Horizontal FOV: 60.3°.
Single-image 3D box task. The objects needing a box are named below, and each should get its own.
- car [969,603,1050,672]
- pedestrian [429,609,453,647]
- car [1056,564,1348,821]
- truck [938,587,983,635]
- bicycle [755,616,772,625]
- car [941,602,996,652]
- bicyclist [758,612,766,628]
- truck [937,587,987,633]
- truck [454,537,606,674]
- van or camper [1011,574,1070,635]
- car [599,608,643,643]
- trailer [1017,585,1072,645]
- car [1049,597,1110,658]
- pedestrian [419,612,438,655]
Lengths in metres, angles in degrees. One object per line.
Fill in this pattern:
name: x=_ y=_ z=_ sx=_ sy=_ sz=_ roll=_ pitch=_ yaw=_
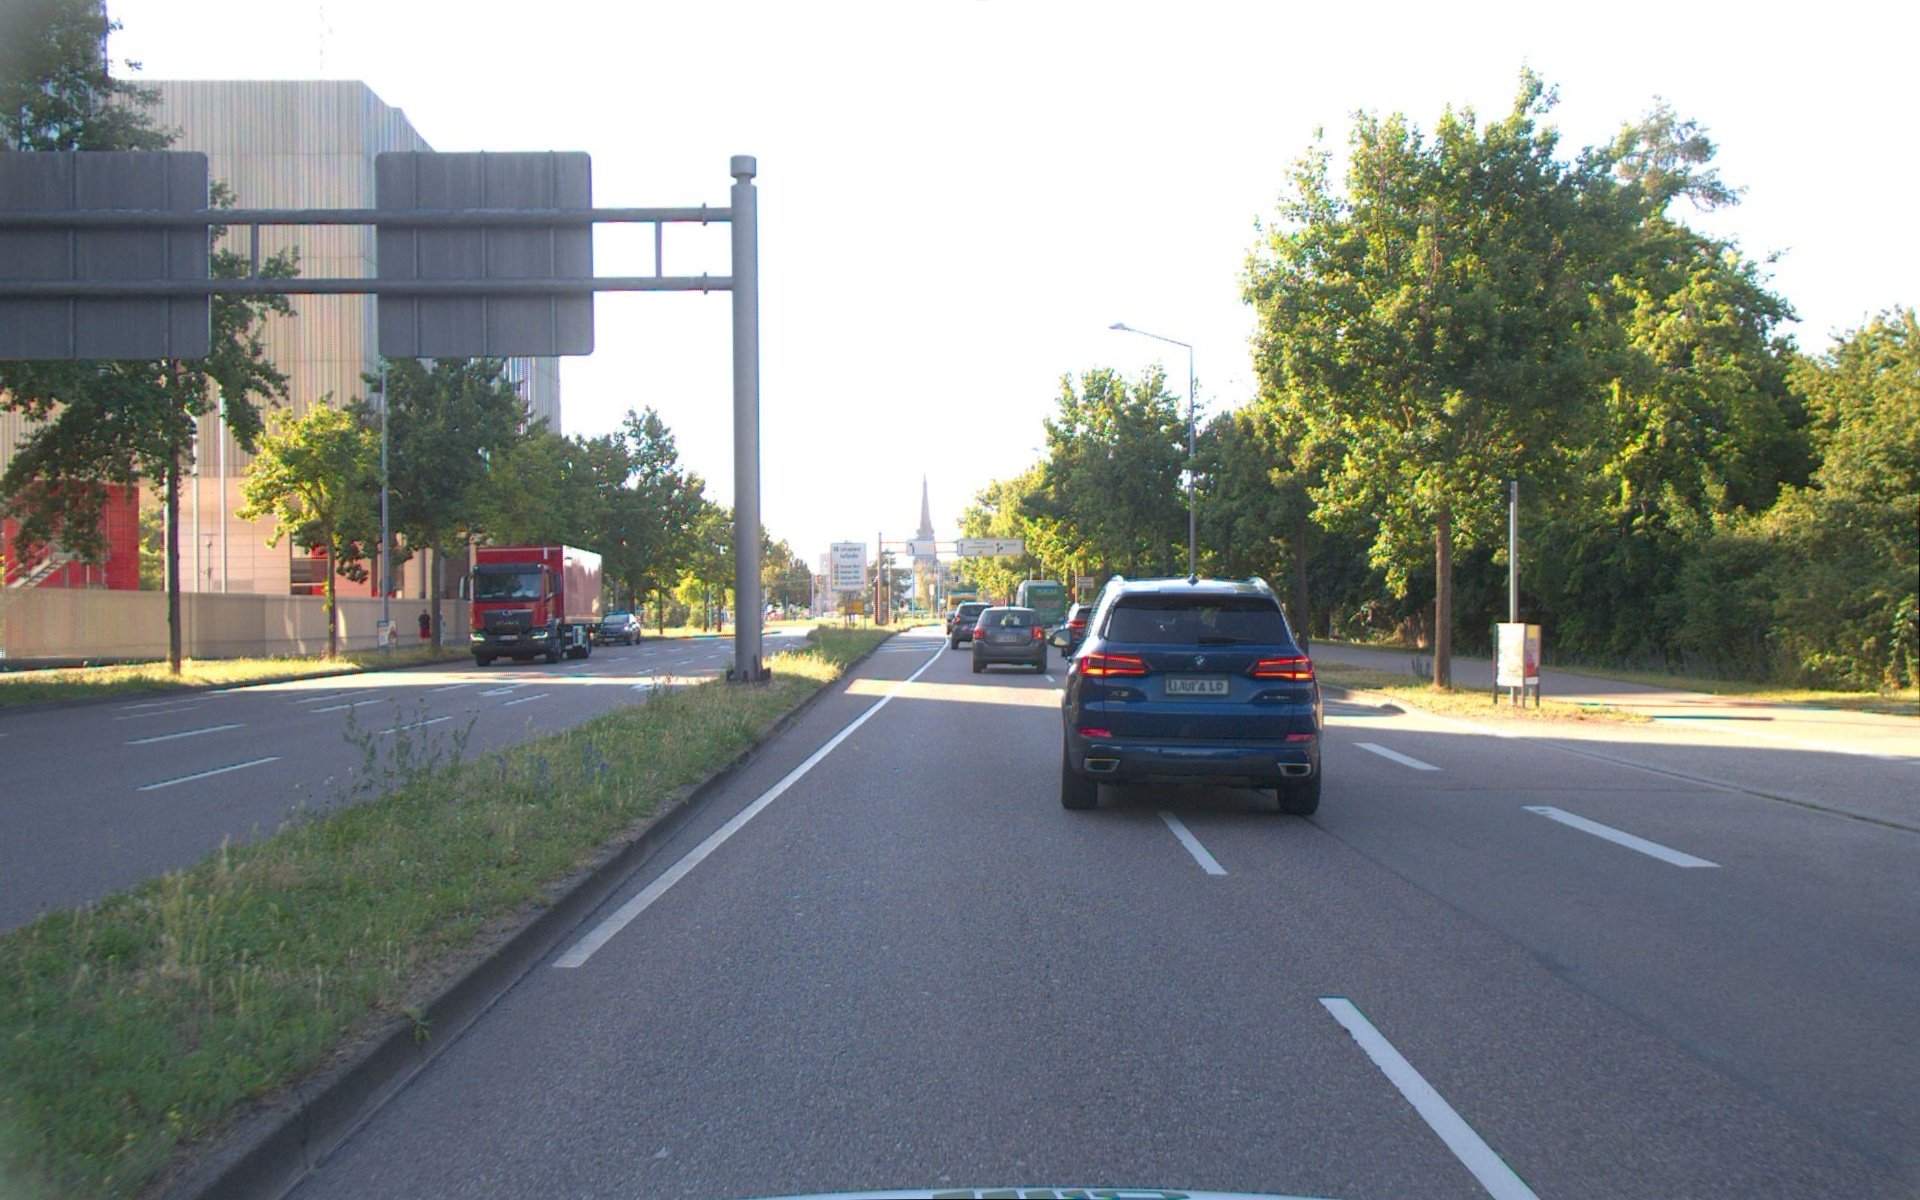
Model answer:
car: x=1.110 y=0.844 z=38.428 sx=1.712 sy=1.499 sz=3.819 roll=-1 pitch=0 yaw=-1
pedestrian: x=-22.693 y=1.224 z=72.313 sx=0.760 sy=1.629 sz=0.909 roll=-1 pitch=-1 yaw=0
car: x=1.804 y=0.678 z=13.770 sx=1.914 sy=1.757 sz=4.700 roll=0 pitch=-1 yaw=2
truck: x=0.077 y=0.649 z=96.989 sx=2.173 sy=2.697 sz=4.776 roll=-1 pitch=0 yaw=5
bicycle: x=-22.795 y=2.402 z=191.693 sx=1.868 sy=1.037 sz=0.505 roll=0 pitch=-1 yaw=14
car: x=0.320 y=0.951 z=58.921 sx=1.866 sy=1.689 sz=4.000 roll=-1 pitch=-1 yaw=1
bicyclist: x=-22.928 y=2.342 z=191.725 sx=0.795 sy=1.802 sz=0.496 roll=0 pitch=-1 yaw=14
truck: x=0.060 y=0.572 z=97.935 sx=2.529 sy=2.603 sz=6.246 roll=-1 pitch=0 yaw=-4
truck: x=-13.345 y=0.161 z=52.271 sx=2.940 sy=3.878 sz=10.078 roll=-1 pitch=0 yaw=-5
van or camper: x=3.647 y=0.221 z=75.764 sx=2.238 sy=2.675 sz=6.581 roll=0 pitch=0 yaw=-1
car: x=-15.583 y=1.160 z=76.075 sx=1.565 sy=1.539 sz=3.862 roll=-1 pitch=0 yaw=-6
trailer: x=3.519 y=0.635 z=69.698 sx=2.047 sy=2.442 sz=3.500 roll=1 pitch=-1 yaw=-1
car: x=3.547 y=0.775 z=48.956 sx=1.710 sy=1.649 sz=3.822 roll=0 pitch=1 yaw=4
pedestrian: x=-23.517 y=1.469 z=73.155 sx=0.619 sy=1.873 sz=0.716 roll=-1 pitch=-1 yaw=0
